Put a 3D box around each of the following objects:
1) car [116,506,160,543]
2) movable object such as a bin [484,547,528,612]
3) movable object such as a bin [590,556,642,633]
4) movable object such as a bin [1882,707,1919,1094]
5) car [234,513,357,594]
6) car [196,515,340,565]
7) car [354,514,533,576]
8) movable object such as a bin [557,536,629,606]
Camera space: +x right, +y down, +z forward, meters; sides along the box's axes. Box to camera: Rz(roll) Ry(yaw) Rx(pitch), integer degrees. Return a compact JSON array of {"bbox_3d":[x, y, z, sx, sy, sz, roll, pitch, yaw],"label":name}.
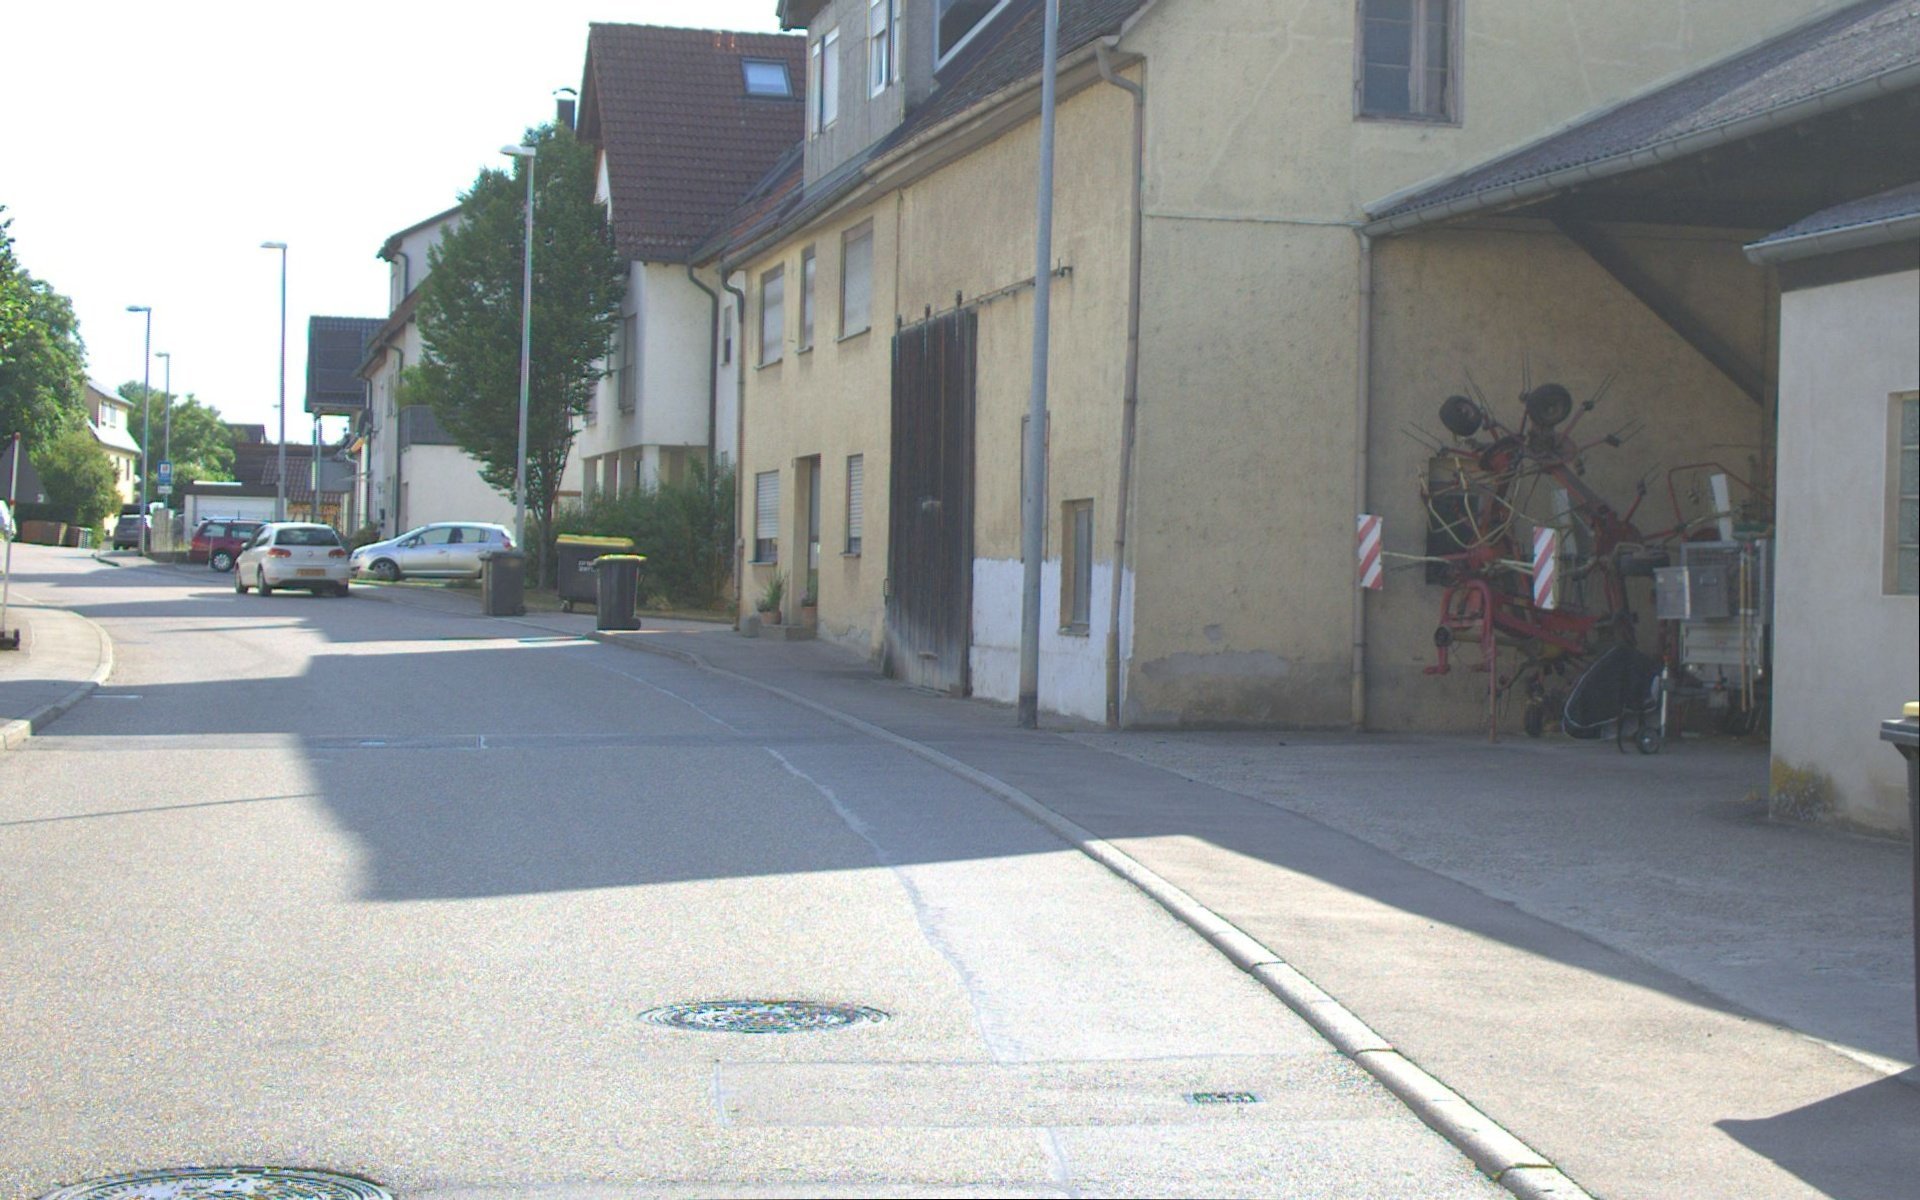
[{"bbox_3d":[-35.024,-3.210,146.510,1.704,1.546,4.001,1,1,-12],"label":"car"},{"bbox_3d":[-7.498,-0.340,56.789,0.652,1.070,0.513,1,1,-13],"label":"movable object such as a bin"},{"bbox_3d":[-4.857,-0.081,48.512,0.652,1.070,0.513,1,1,-13],"label":"movable object such as a bin"},{"bbox_3d":[3.028,0.855,9.768,0.653,1.070,0.513,1,1,-1],"label":"movable object such as a bin"},{"bbox_3d":[-13.450,-0.946,69.421,1.704,1.573,4.001,1,1,-22],"label":"car"},{"bbox_3d":[-19.777,-1.717,98.182,3.986,1.348,1.711,1,1,-13],"label":"car"},{"bbox_3d":[-11.855,-1.259,79.114,3.986,1.348,1.711,1,1,-6],"label":"car"},{"bbox_3d":[-6.259,-0.494,58.642,1.160,1.164,0.655,1,1,-9],"label":"movable object such as a bin"}]
